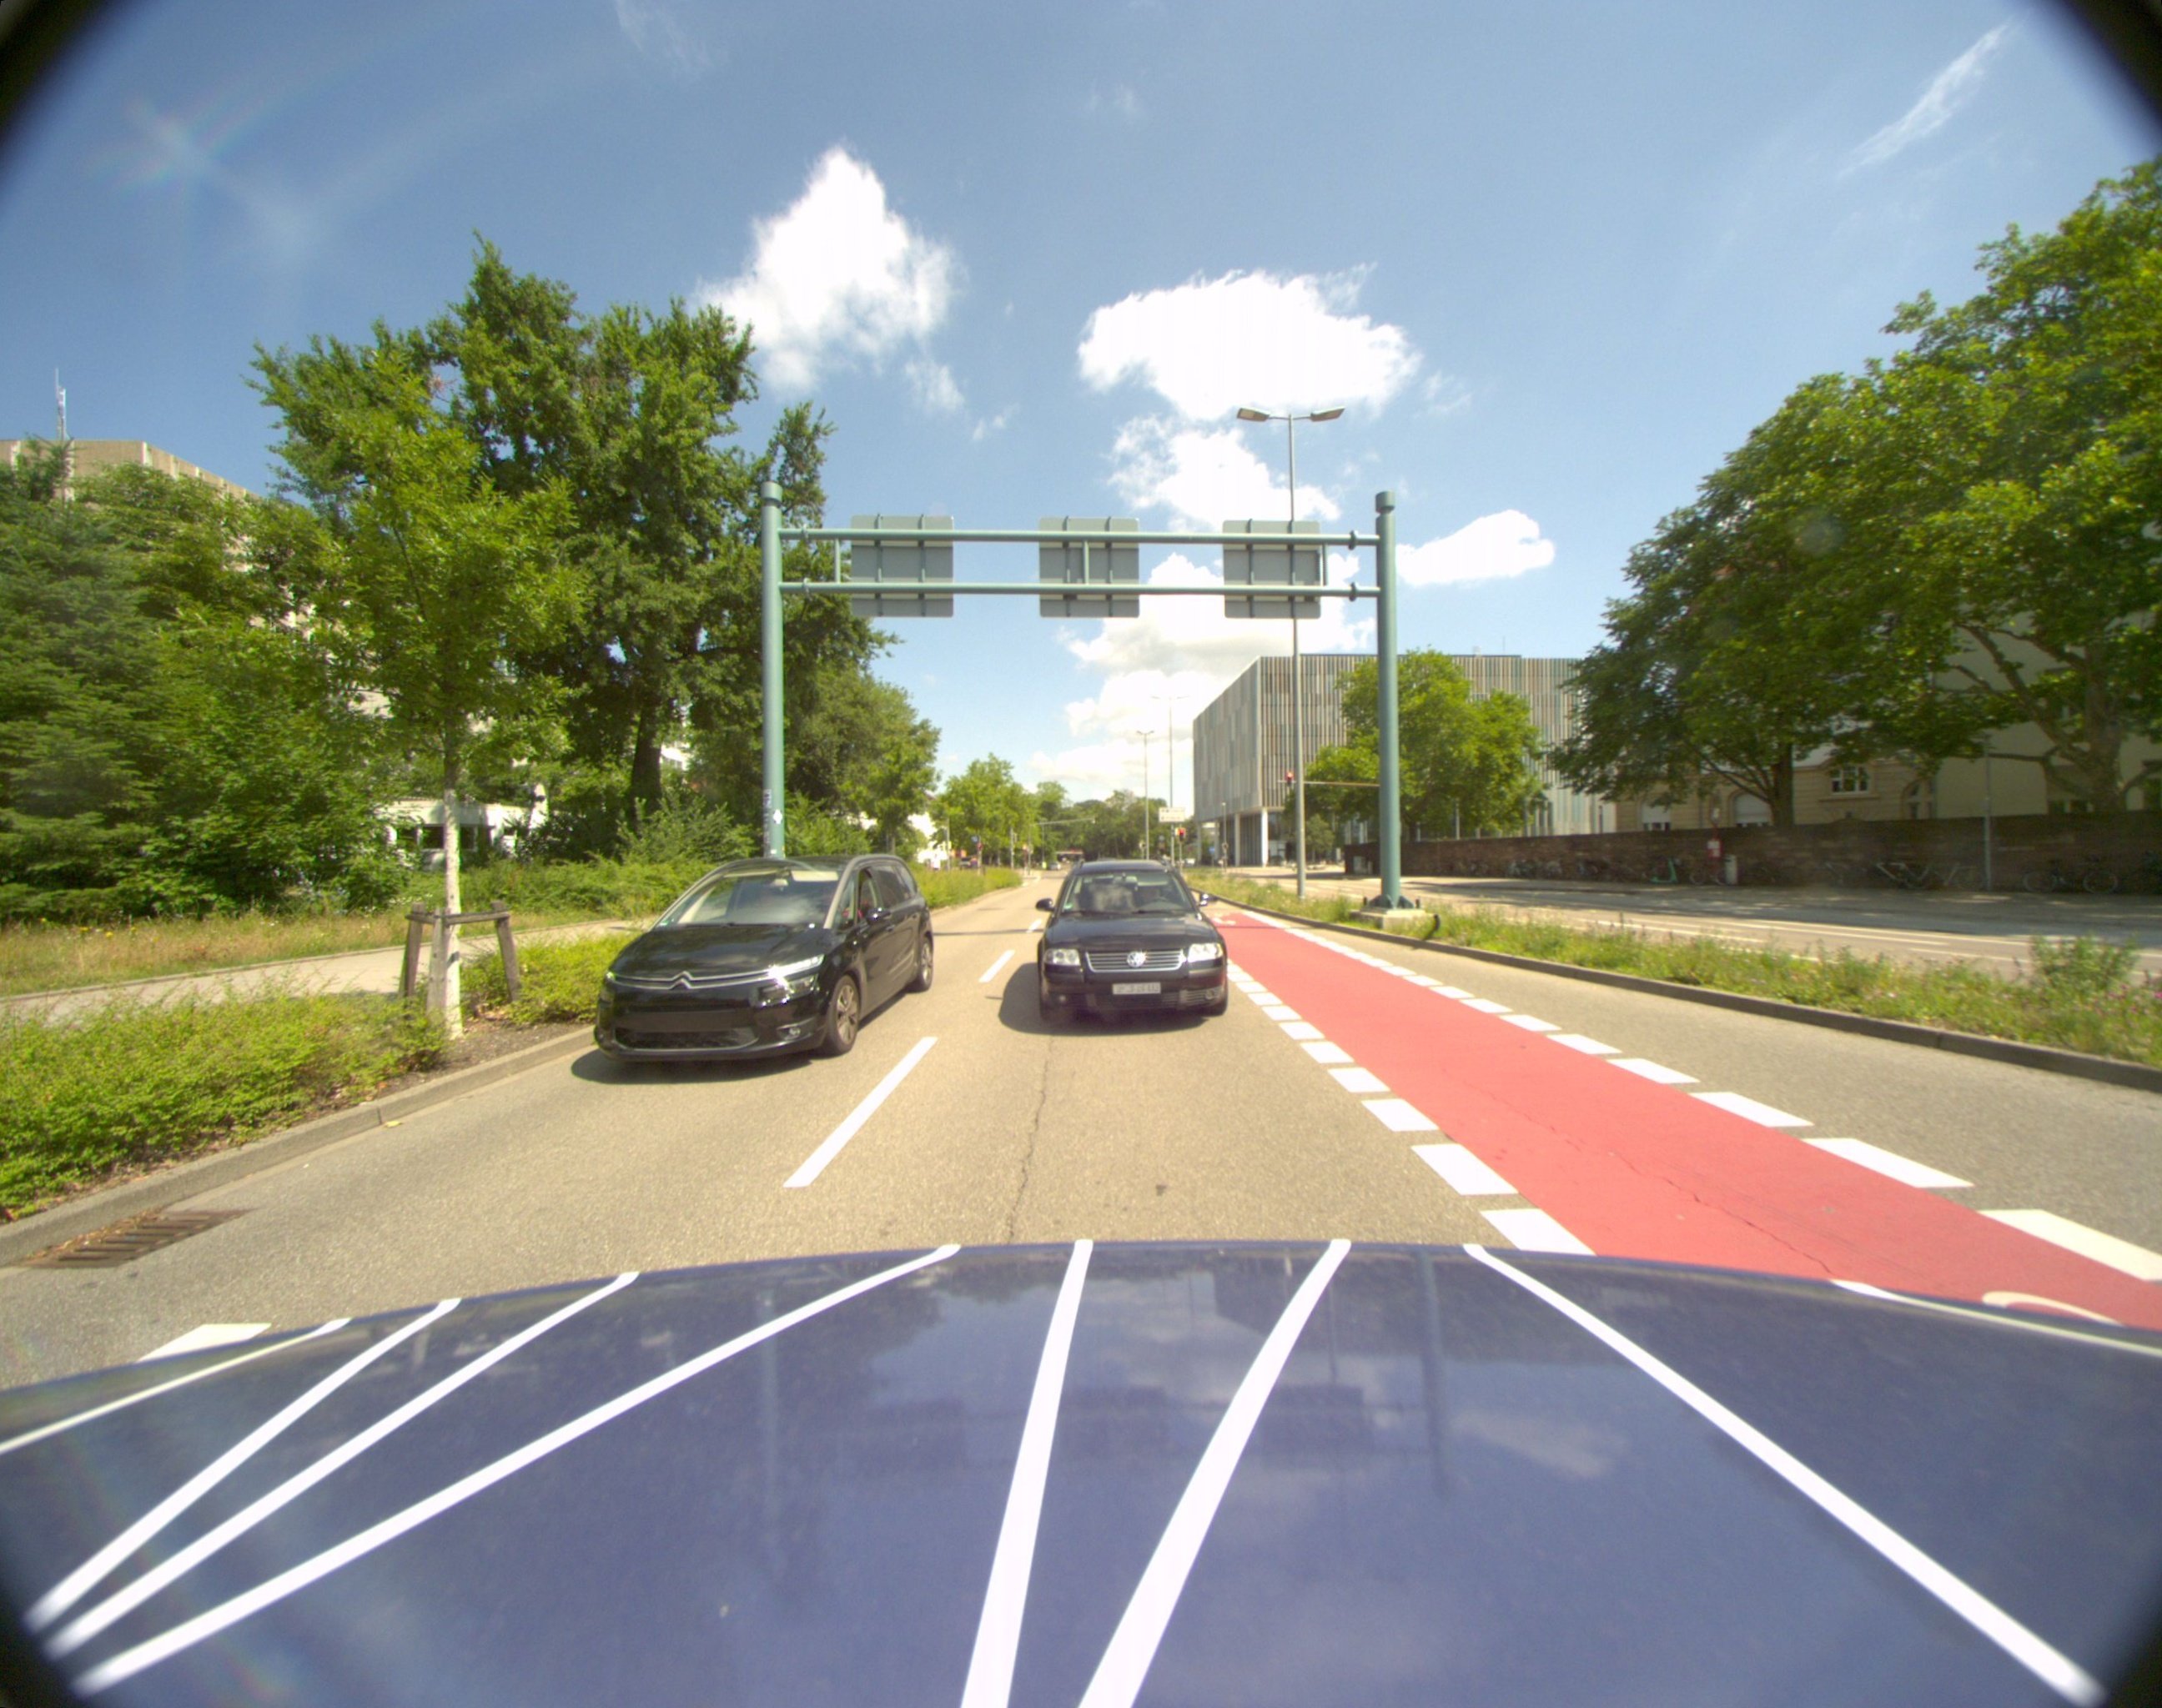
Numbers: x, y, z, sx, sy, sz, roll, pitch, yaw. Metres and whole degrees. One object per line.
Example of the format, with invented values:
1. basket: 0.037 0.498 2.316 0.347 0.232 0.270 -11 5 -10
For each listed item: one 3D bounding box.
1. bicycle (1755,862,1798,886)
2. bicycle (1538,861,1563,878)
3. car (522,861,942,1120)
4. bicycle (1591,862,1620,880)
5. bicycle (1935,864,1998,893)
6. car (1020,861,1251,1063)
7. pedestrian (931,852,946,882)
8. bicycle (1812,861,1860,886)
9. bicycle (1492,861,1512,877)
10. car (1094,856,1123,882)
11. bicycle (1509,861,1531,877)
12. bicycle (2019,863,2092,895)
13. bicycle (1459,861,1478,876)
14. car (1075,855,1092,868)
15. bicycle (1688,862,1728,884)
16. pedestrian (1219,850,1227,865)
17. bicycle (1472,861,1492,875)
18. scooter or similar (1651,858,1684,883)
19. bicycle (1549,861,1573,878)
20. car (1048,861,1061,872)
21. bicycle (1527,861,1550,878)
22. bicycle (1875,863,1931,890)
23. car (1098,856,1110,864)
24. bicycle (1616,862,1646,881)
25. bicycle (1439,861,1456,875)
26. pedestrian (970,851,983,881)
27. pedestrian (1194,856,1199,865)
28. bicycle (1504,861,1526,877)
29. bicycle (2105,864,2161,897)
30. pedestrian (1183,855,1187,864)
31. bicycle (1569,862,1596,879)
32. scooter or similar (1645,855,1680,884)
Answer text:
1. bicycle: 25.193 0.705 27.530 0.265 0.826 1.235 -1 0 -11
2. bicycle: 23.191 0.747 37.536 0.265 0.826 1.234 -1 0 -11
3. car: -2.702 0.923 7.229 1.816 1.598 4.479 -3 0 1
4. bicycle: 24.073 0.780 34.889 0.265 0.826 1.235 -1 0 -11
5. bicycle: 26.246 0.720 22.539 0.265 0.826 1.235 -1 0 -11
6. car: 0.455 0.865 8.200 1.723 1.472 4.594 -3 0 1
7. pedestrian: -9.653 0.859 51.375 0.846 2.026 0.900 -1 0 -16
8. bicycle: 25.688 0.648 25.861 0.265 0.826 1.235 -1 0 -11
9. bicycle: 23.160 0.814 41.813 0.265 0.826 1.234 -1 0 -11
10. car: 1.739 0.932 49.711 1.723 1.545 4.594 -3 0 1
11. bicycle: 23.366 0.787 40.418 0.265 0.826 1.234 -1 0 -11
12. bicycle: 26.635 0.668 20.781 0.265 0.826 1.234 -1 0 -13
13. bicycle: 22.815 0.852 44.765 0.265 0.826 1.235 -1 0 -11
14. car: 0.303 0.889 87.869 1.806 1.361 4.157 -1 1 1
15. bicycle: 24.823 0.738 30.090 0.265 0.826 1.233 -1 0 -21
16. pedestrian: 18.928 0.424 101.311 0.864 2.002 0.995 -1 0 -1
17. bicycle: 22.935 0.799 43.440 0.265 0.826 1.234 -1 0 -11
18. scooter or similar: 24.580 0.682 31.860 0.266 1.014 1.140 -1 0 -22
19. bicycle: 23.669 0.746 37.479 0.265 0.826 1.235 -1 0 -11
20. car: -4.308 1.938 122.148 1.816 1.598 4.479 -3 0 1
21. bicycle: 23.475 0.785 39.008 0.265 0.826 1.235 -1 0 -11
22. bicycle: 25.995 0.699 24.051 0.265 0.826 1.235 -1 0 -11
23. car: 4.303 1.135 144.386 1.758 1.581 4.275 -1 0 -4
24. bicycle: 24.153 0.769 33.381 0.265 0.826 1.235 -1 0 -11
25. bicycle: 22.498 0.861 46.660 0.265 0.826 1.235 -1 0 -11
26. pedestrian: -6.186 0.681 45.027 0.639 1.754 0.886 -1 0 -3
27. pedestrian: 18.614 0.986 122.428 0.696 1.445 0.689 -1 0 4
28. bicycle: 22.888 0.799 40.100 0.265 0.826 1.234 -1 0 -11
29. bicycle: 27.131 0.669 19.356 0.265 0.826 1.234 -1 0 -13
30. pedestrian: 17.860 0.982 130.124 0.696 1.445 0.689 -1 0 5
31. bicycle: 23.904 0.776 36.215 0.265 0.826 1.235 -1 0 -11
32. scooter or similar: 23.834 0.621 31.157 0.265 1.182 1.234 -1 0 -11
